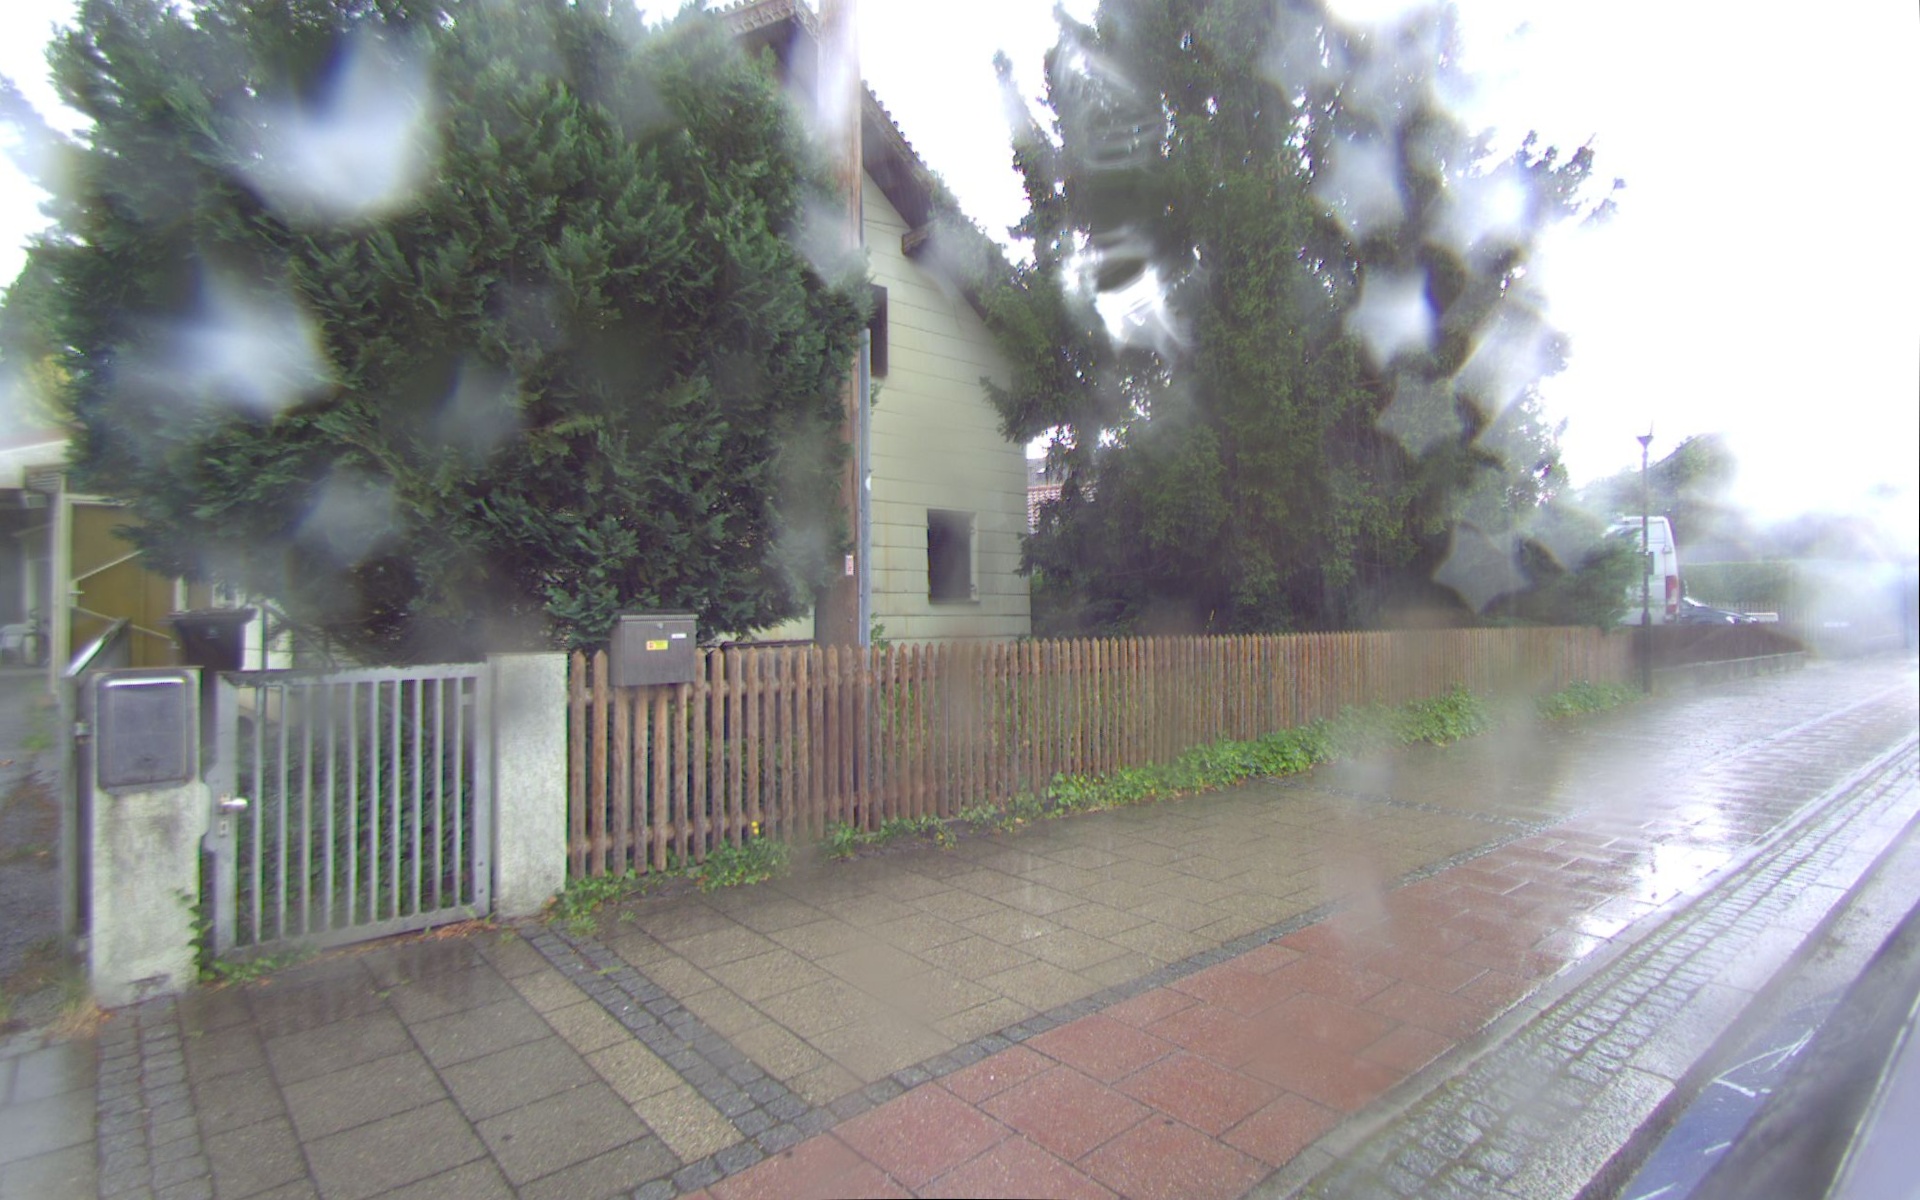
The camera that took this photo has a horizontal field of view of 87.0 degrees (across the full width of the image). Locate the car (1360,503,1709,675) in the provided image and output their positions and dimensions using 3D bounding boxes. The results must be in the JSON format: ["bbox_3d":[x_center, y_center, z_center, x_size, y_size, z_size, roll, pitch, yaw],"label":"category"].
[{"bbox_3d":[10.469,-0.283,18.738,5.298,2.761,1.971,3,2,41],"label":"car"}]

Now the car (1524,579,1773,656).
[{"bbox_3d":[15.507,0.325,22.944,4.428,1.438,1.803,3,3,42],"label":"car"}]
